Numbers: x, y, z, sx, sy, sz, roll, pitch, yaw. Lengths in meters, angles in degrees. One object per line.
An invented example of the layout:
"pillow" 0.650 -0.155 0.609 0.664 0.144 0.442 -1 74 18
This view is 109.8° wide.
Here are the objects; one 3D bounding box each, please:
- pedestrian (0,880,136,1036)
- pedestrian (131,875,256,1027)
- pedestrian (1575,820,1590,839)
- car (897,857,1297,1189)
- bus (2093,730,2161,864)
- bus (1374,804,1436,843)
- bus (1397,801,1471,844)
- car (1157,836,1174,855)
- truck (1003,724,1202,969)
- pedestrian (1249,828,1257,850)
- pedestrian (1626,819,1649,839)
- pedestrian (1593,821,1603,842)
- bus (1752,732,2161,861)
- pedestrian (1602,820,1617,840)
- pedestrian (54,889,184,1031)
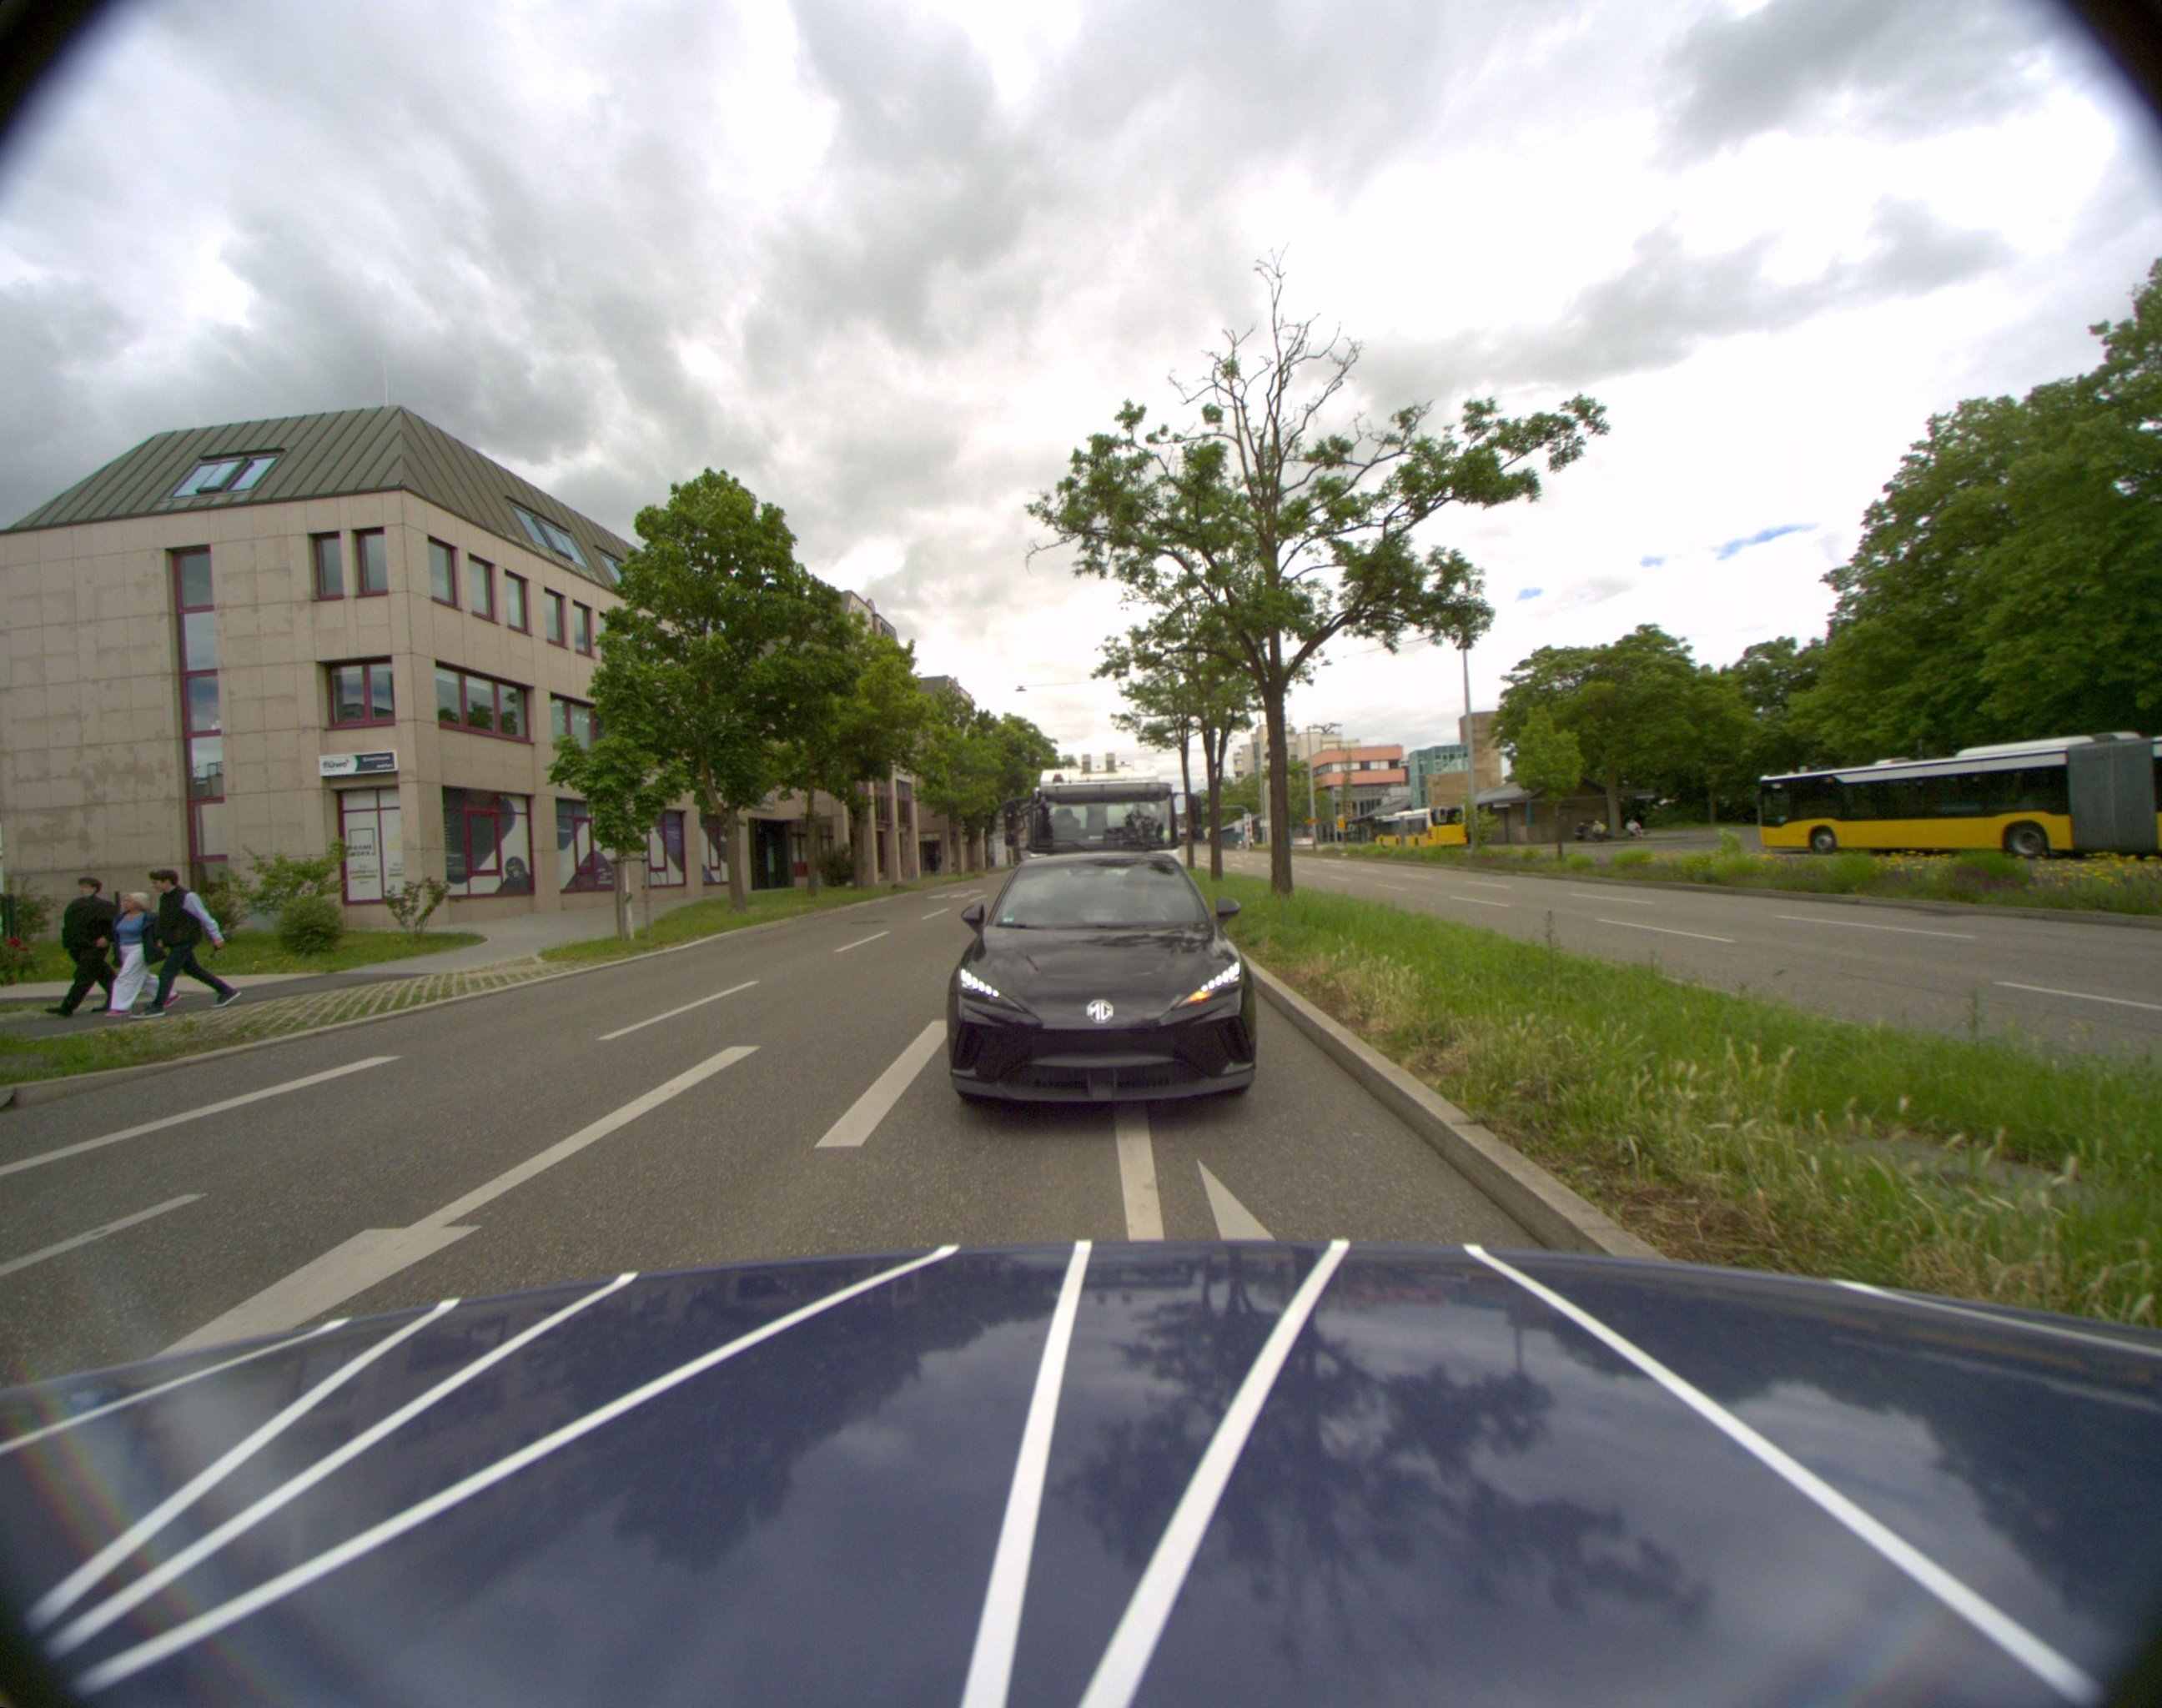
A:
"pedestrian" -12.420 1.243 9.336 0.642 1.795 0.677 -3 1 1
"pedestrian" -11.126 1.191 9.549 0.642 1.795 0.677 -3 1 1
"pedestrian" 30.888 -1.499 46.818 0.598 1.155 0.743 -2 2 21
"car" 0.112 0.812 5.585 1.827 1.430 4.000 -3 1 1
"bus" 25.127 -1.281 14.008 2.888 2.985 7.885 -3 1 6
"bus" 27.909 -2.570 65.972 2.887 2.985 9.181 -2 1 10
"bus" 26.351 -2.262 57.197 2.887 2.793 9.181 -2 1 11
"car" 9.828 -1.008 88.481 1.726 2.002 4.000 -3 1 3
"truck" 0.355 -0.139 13.952 2.544 3.188 7.368 -3 1 1
"pedestrian" 21.860 -1.957 96.558 0.903 2.772 1.148 -2 2 14
"pedestrian" 32.155 -1.435 43.902 0.650 1.165 0.925 -2 2 1
"pedestrian" 30.417 -1.327 44.710 0.367 1.160 0.899 -1 2 27
"bus" 26.036 -1.469 23.119 2.888 2.985 10.396 -3 1 6
"pedestrian" 30.883 -1.416 44.396 0.598 1.155 0.744 -1 2 27
"pedestrian" -11.924 1.289 9.443 0.642 1.637 0.677 -3 1 1
